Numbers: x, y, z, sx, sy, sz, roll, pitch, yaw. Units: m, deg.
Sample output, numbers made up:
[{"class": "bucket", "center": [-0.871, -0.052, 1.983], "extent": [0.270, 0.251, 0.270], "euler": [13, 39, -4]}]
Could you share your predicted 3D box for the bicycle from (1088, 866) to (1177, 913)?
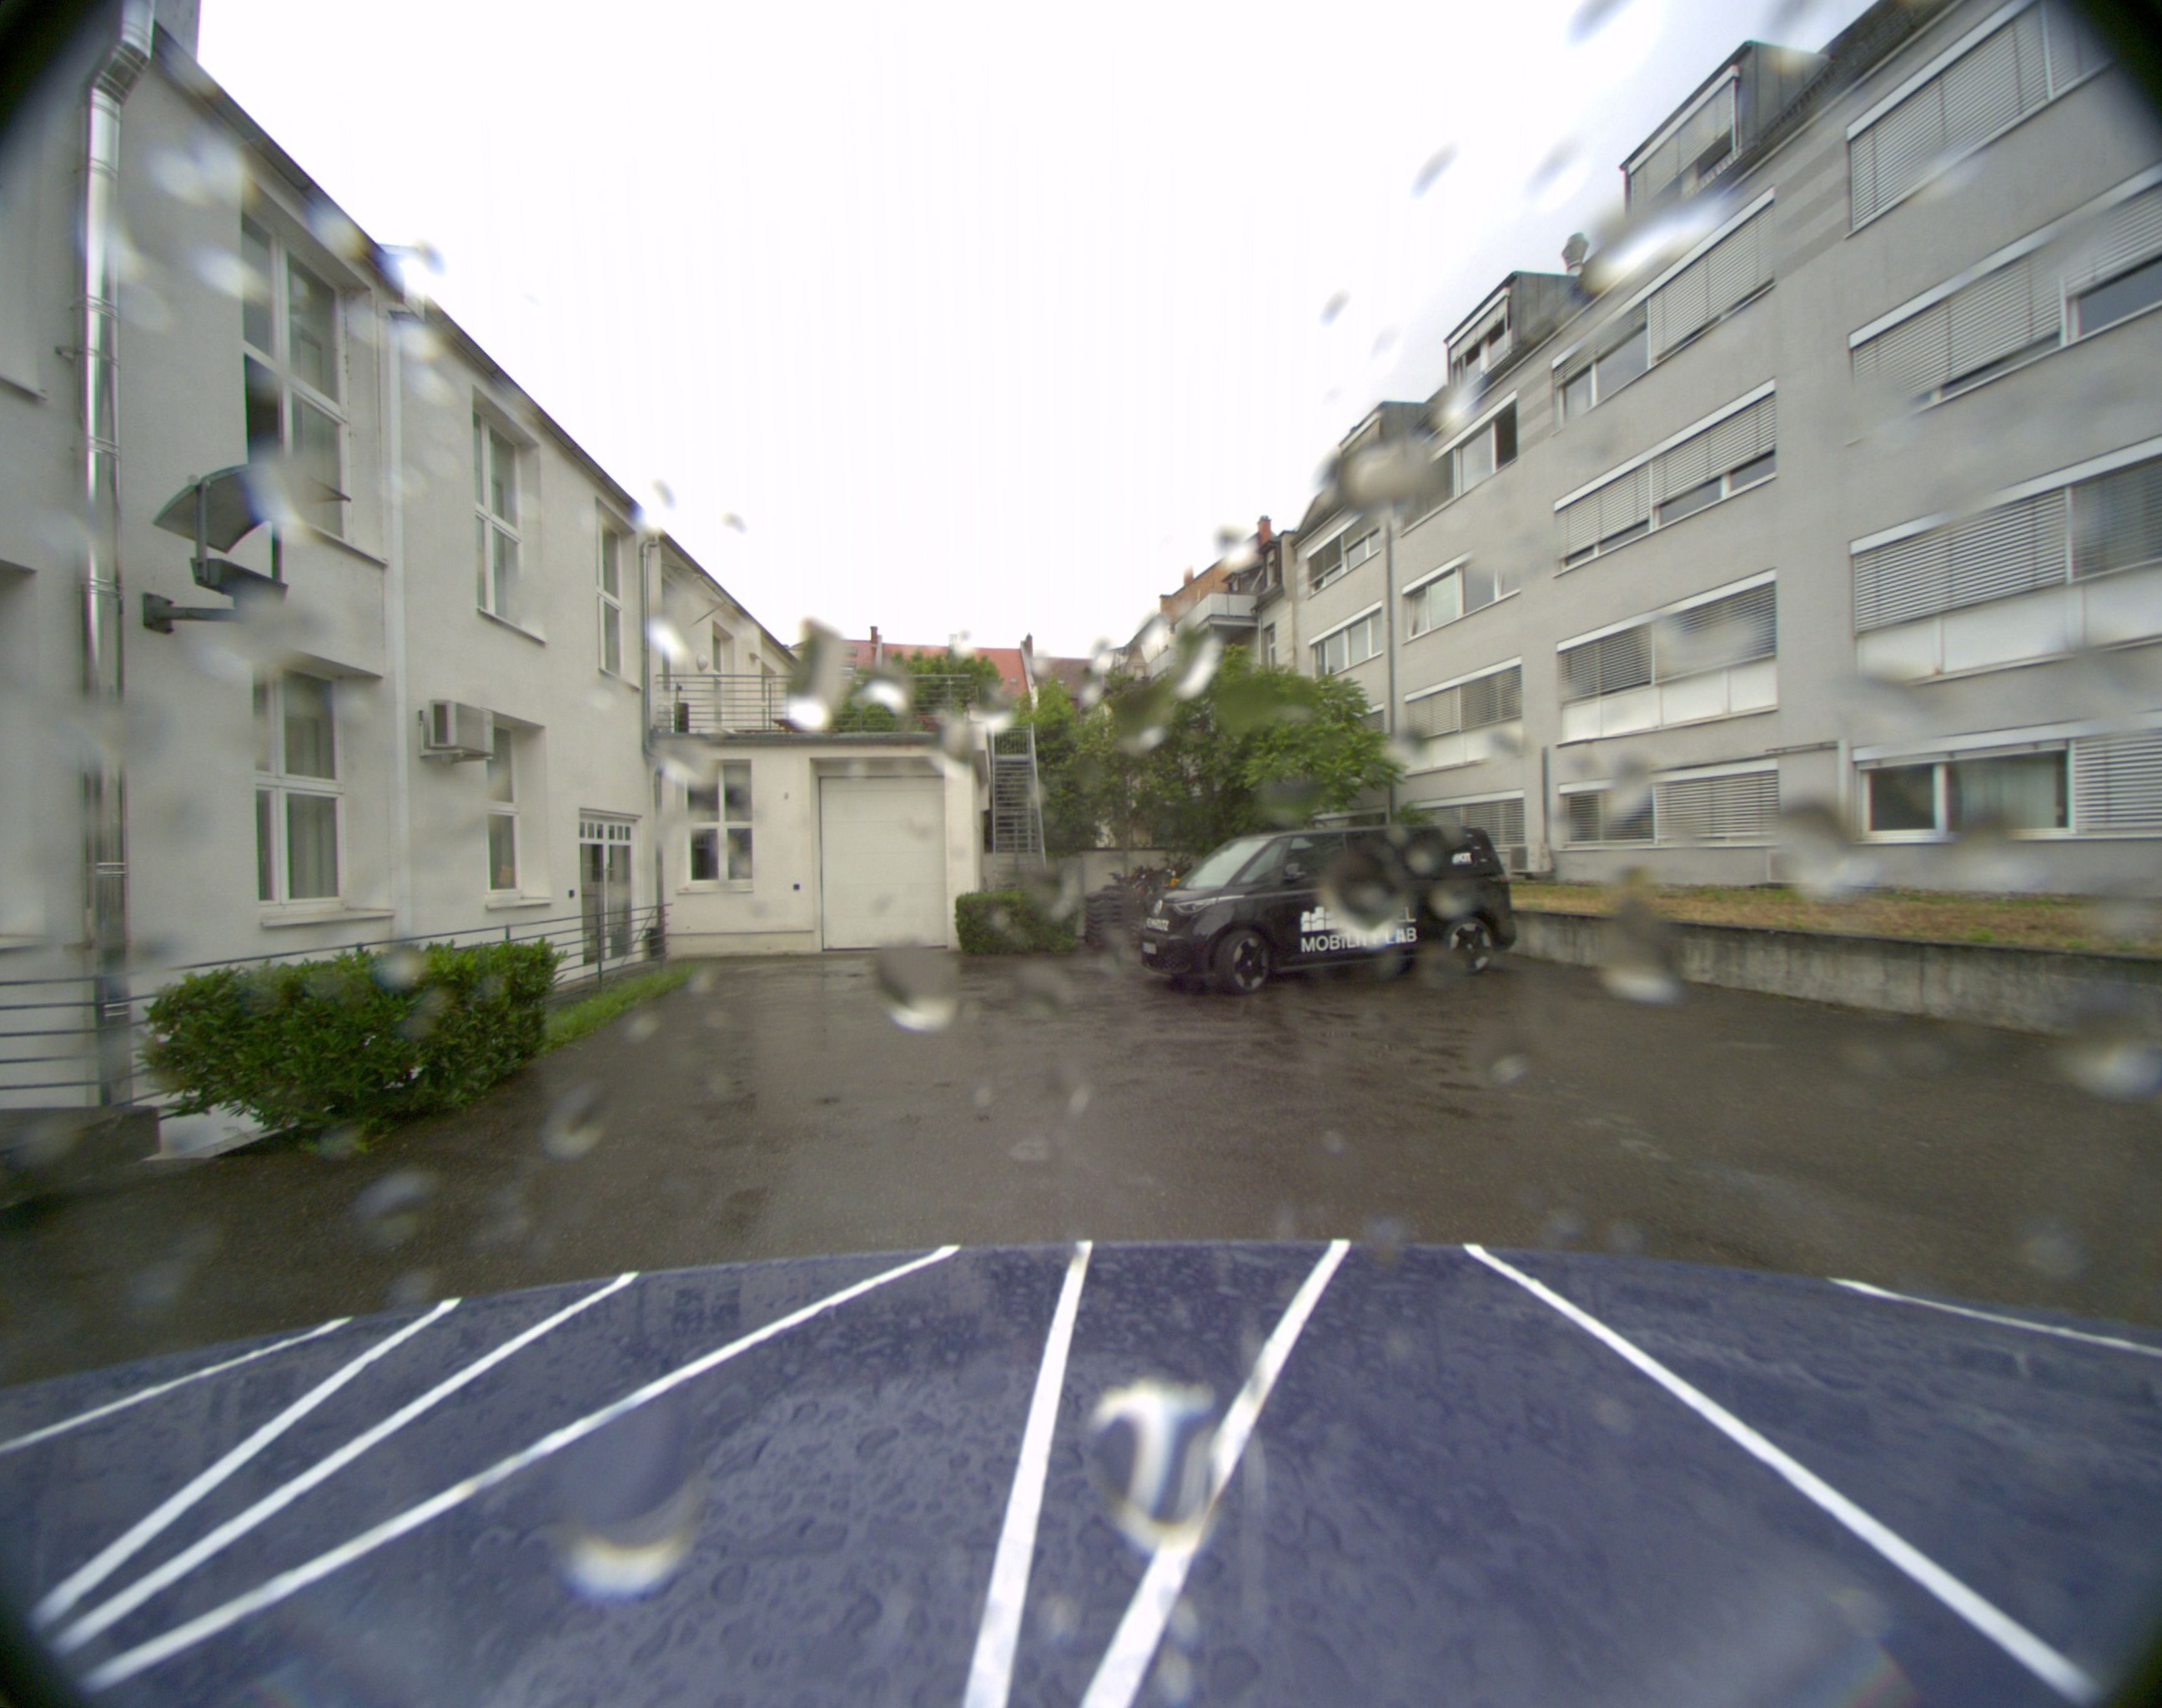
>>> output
[{"class": "bicycle", "center": [1.392, 0.946, 20.604], "extent": [2.320, 1.180, 0.643], "euler": [-1, 3, -6]}]

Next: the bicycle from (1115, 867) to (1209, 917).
[{"class": "bicycle", "center": [2.078, 0.974, 19.537], "extent": [2.320, 1.180, 0.643], "euler": [-1, 3, -6]}]

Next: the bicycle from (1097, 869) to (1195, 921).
[{"class": "bicycle", "center": [1.601, 1.008, 18.818], "extent": [2.320, 1.180, 0.643], "euler": [-1, 3, -6]}]

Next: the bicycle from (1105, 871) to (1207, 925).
[{"class": "bicycle", "center": [1.768, 1.034, 18.034], "extent": [2.320, 1.180, 0.643], "euler": [-1, 3, -6]}]

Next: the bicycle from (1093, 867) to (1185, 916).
[{"class": "bicycle", "center": [1.510, 0.967, 19.981], "extent": [2.320, 1.180, 0.643], "euler": [-1, 3, -6]}]

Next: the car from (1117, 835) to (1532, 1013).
[{"class": "car", "center": [2.984, 0.766, 9.672], "extent": [4.633, 1.825, 1.986], "euler": [-1, -1, -14]}]
